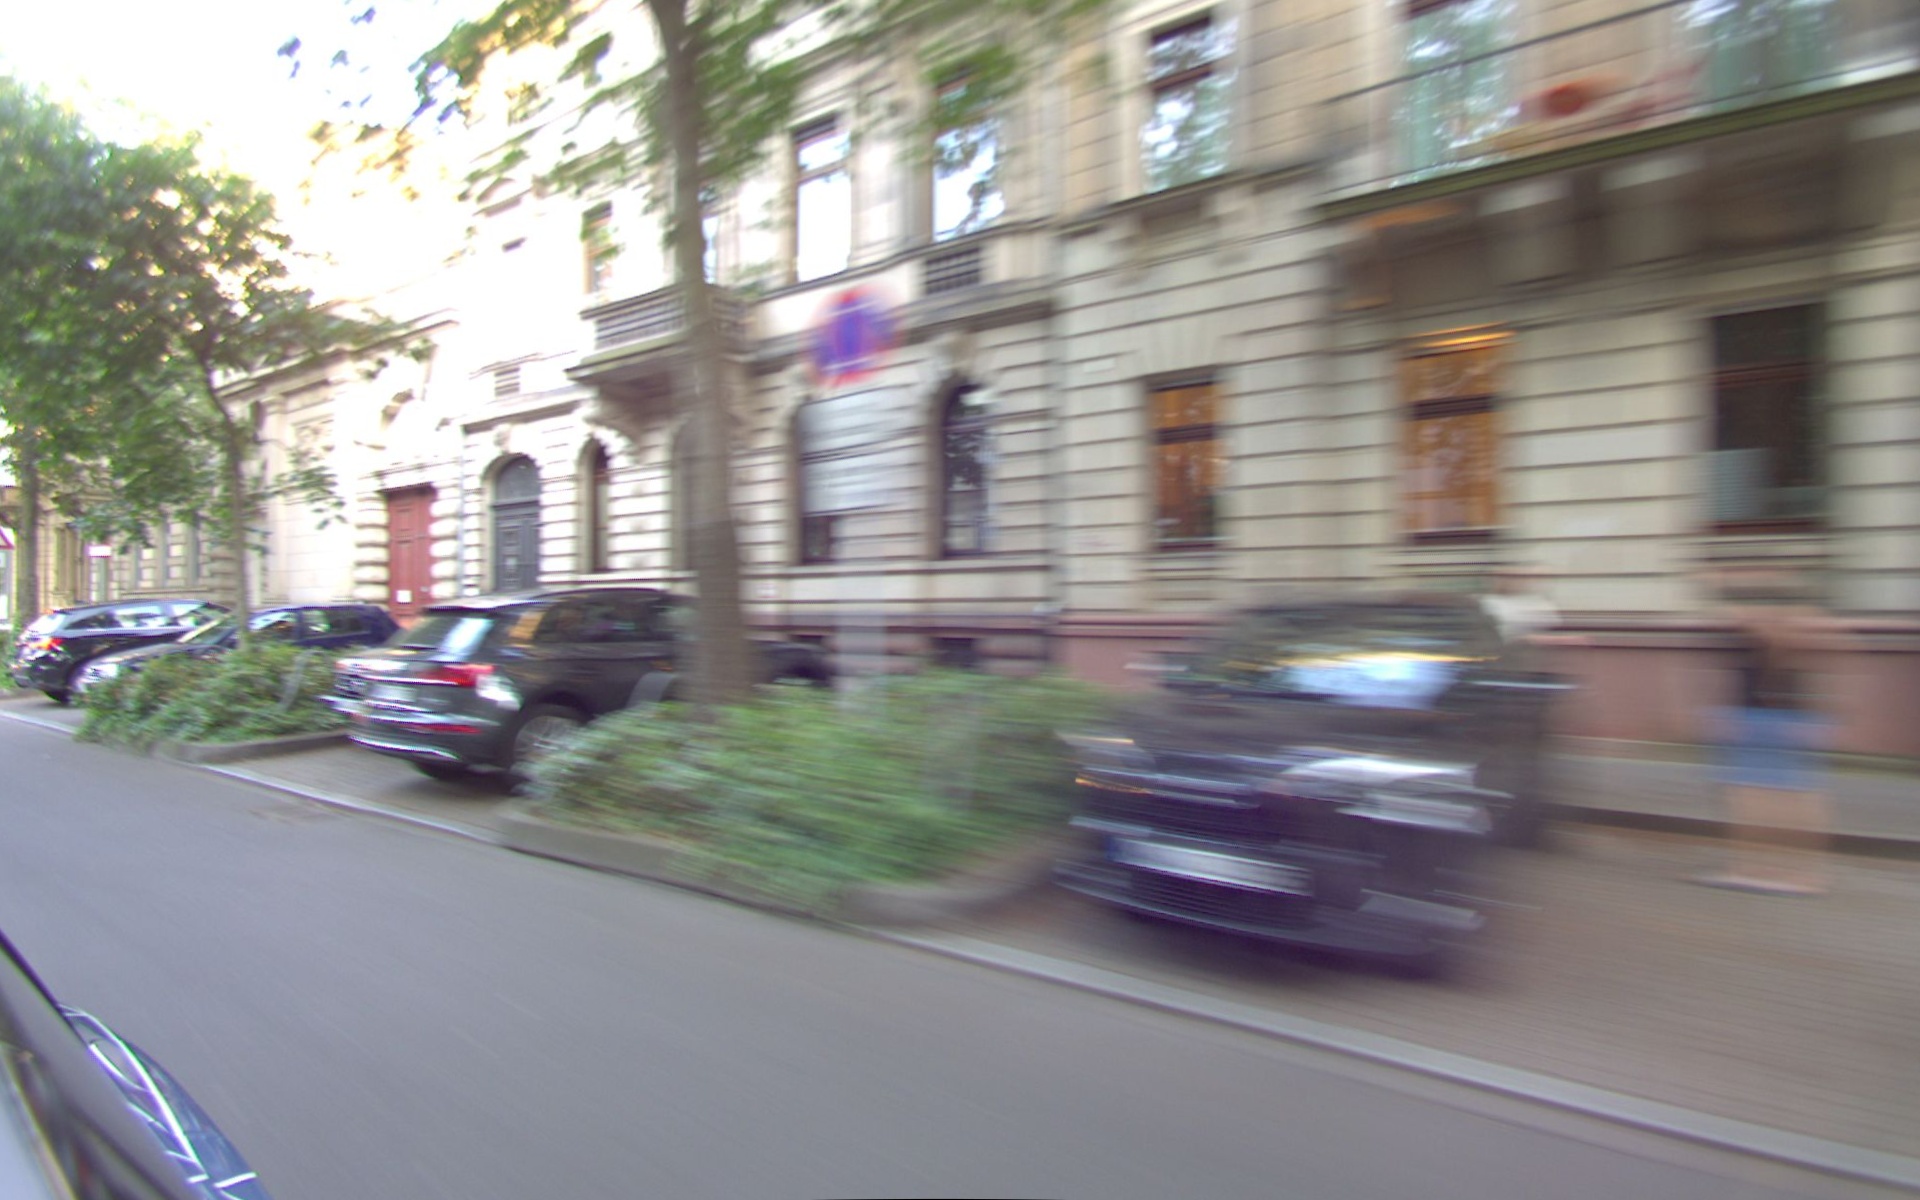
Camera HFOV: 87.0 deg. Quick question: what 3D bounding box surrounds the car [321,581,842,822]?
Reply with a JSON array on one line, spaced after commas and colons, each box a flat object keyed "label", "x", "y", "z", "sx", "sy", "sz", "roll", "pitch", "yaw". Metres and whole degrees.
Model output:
[{"label": "car", "x": -3.229, "y": 0.704, "z": 9.407, "sx": 1.904, "sy": 1.684, "sz": 4.164, "roll": -2, "pitch": 0, "yaw": 36}]

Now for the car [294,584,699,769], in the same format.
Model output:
[{"label": "car", "x": -4.983, "y": 0.697, "z": 11.346, "sx": 1.710, "sy": 1.684, "sz": 3.769, "roll": -2, "pitch": 0, "yaw": 35}]

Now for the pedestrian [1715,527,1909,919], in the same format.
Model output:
[{"label": "pedestrian", "x": 4.229, "y": 0.551, "z": 5.032, "sx": 0.671, "sy": 1.752, "sz": 0.726, "roll": -1, "pitch": 0, "yaw": 42}]

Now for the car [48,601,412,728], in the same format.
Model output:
[{"label": "car", "x": -10.459, "y": 0.835, "z": 14.769, "sx": 1.762, "sy": 1.397, "sz": 3.930, "roll": -2, "pitch": 2, "yaw": 37}]

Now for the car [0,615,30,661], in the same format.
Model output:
[{"label": "car", "x": -31.226, "y": 1.173, "z": 30.483, "sx": 1.913, "sy": 1.401, "sz": 4.472, "roll": -1, "pitch": 0, "yaw": 37}]

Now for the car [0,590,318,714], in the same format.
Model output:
[{"label": "car", "x": -13.303, "y": 0.759, "z": 16.904, "sx": 1.777, "sy": 1.608, "sz": 3.931, "roll": -1, "pitch": 3, "yaw": 36}]

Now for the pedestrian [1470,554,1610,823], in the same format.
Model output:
[{"label": "pedestrian", "x": 4.056, "y": 0.578, "z": 7.076, "sx": 0.736, "sy": 1.752, "sz": 0.662, "roll": -1, "pitch": 0, "yaw": 39}]

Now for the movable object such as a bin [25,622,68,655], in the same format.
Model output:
[{"label": "movable object such as a bin", "x": -31.142, "y": 1.290, "z": 34.504, "sx": 1.314, "sy": 1.069, "sz": 0.794, "roll": -1, "pitch": 1, "yaw": 36}]

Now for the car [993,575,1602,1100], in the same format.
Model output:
[{"label": "car", "x": 2.029, "y": 0.690, "z": 5.137, "sx": 1.903, "sy": 1.544, "sz": 3.911, "roll": 0, "pitch": 0, "yaw": 35}]
